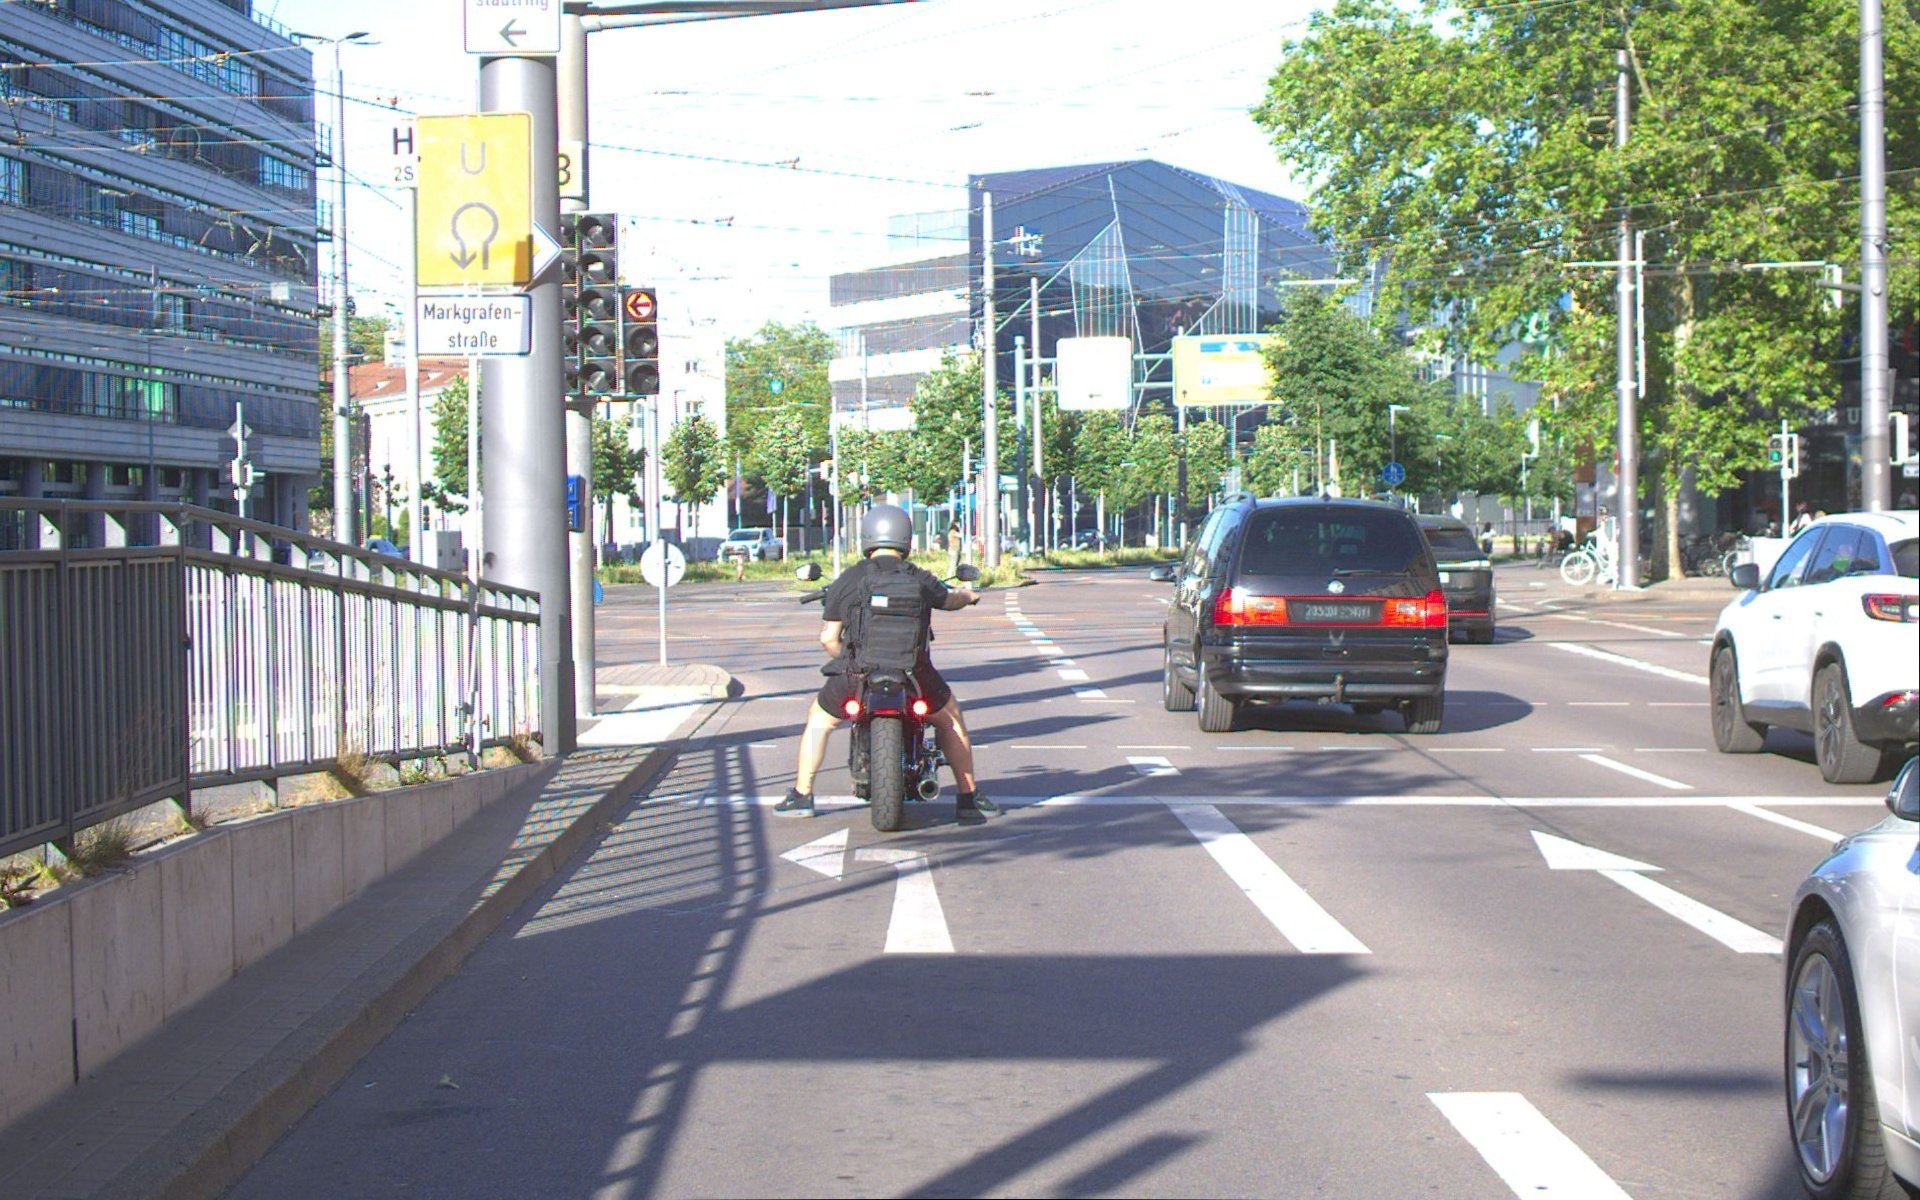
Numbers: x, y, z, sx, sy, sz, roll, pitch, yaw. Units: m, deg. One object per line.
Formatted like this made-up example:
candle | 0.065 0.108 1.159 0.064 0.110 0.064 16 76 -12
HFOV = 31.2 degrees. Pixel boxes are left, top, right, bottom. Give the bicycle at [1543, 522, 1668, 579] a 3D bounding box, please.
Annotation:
bicycle | 14.461 -1.106 77.048 2.693 1.240 0.527 0 1 23

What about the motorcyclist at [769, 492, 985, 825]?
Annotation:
motorcyclist | -0.405 0.273 17.281 1.019 1.598 1.148 1 1 0

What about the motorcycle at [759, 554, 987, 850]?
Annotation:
motorcycle | -0.402 0.448 17.201 1.019 1.307 2.915 1 1 0

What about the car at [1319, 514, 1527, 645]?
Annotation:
car | 5.504 -0.286 41.343 1.851 1.492 4.379 0 1 -1

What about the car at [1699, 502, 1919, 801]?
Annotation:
car | 5.931 0.226 20.973 1.851 1.634 4.379 0 1 -1

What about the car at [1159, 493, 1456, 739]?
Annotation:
car | 2.519 0.066 25.791 1.798 1.699 4.063 0 1 0

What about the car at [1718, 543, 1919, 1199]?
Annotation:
car | 2.651 0.677 5.869 1.692 1.491 4.409 1 1 0
